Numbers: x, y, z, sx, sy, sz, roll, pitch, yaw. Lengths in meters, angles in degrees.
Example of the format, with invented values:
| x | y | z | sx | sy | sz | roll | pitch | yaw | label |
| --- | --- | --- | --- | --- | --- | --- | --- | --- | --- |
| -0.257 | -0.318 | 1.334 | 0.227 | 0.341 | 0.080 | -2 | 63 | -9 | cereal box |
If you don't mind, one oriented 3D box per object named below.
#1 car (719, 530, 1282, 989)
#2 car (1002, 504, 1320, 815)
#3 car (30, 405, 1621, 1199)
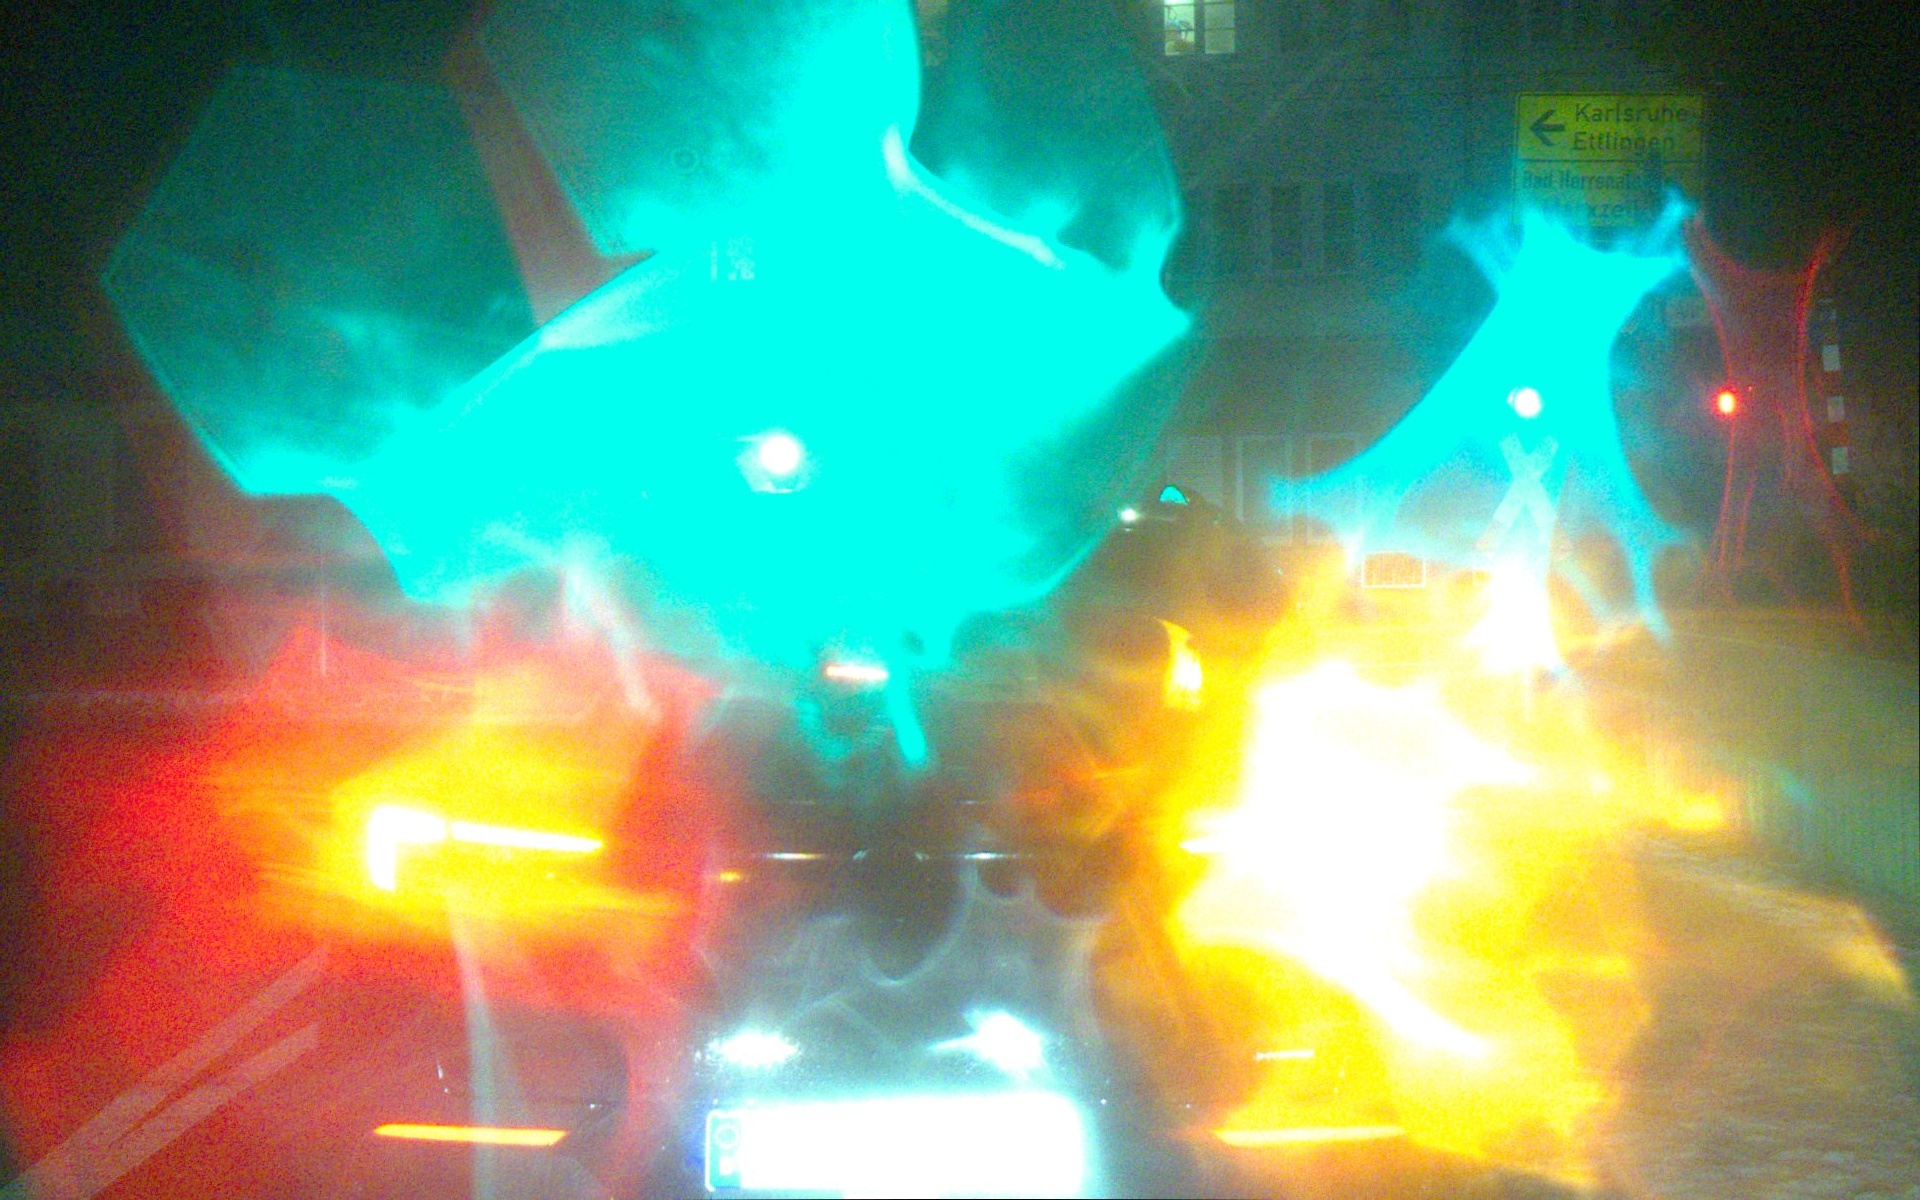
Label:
| x | y | z | sx | sy | sz | roll | pitch | yaw | label |
| --- | --- | --- | --- | --- | --- | --- | --- | --- | --- |
| 0.144 | 0.519 | 14.202 | 1.909 | 1.505 | 4.241 | -3 | 1 | 0 | car |
| 1.556 | 0.336 | 25.078 | 1.772 | 1.940 | 4.253 | 4 | 2 | 9 | car |
| -0.205 | 0.574 | 6.567 | 2.057 | 1.672 | 4.140 | 1 | 1 | -1 | car |
